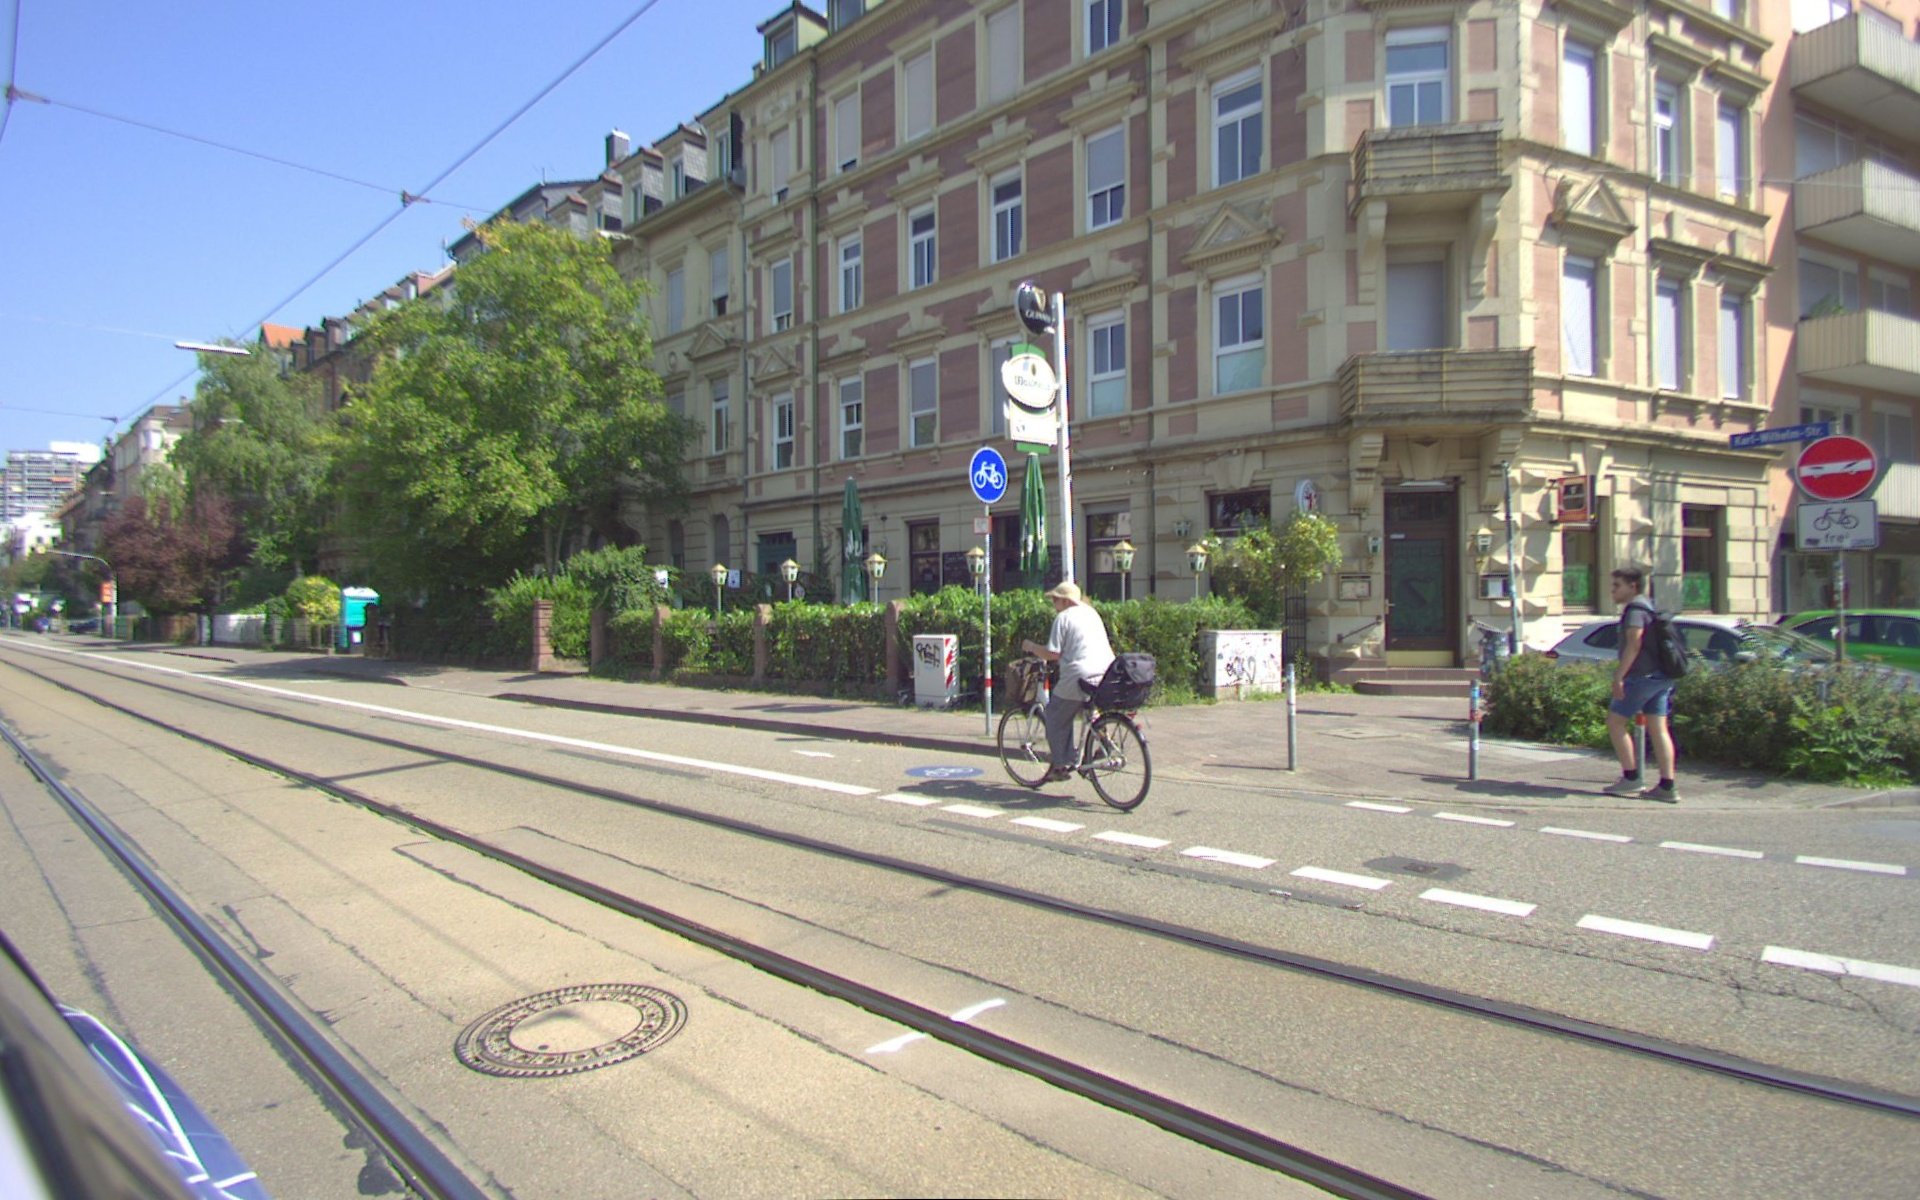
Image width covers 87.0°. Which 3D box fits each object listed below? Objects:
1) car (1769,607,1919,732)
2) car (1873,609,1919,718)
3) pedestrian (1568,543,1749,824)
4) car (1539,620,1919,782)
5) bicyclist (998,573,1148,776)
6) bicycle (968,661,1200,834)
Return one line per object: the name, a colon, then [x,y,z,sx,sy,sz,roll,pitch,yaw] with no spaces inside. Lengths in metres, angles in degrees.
car: [13.236,0.897,13.244,1.709,1.586,3.752,-1,0,-26]
car: [15.576,0.930,14.173,1.709,1.586,3.752,-1,0,-26]
pedestrian: [5.435,0.612,7.902,0.647,2.029,0.976,1,-2,-38]
car: [9.101,0.980,11.328,1.965,1.500,4.158,0,-1,-24]
bicyclist: [0.848,0.538,7.749,0.646,1.439,0.977,1,-2,-35]
bicycle: [0.877,1.042,7.738,0.632,1.085,1.920,1,-2,-35]
